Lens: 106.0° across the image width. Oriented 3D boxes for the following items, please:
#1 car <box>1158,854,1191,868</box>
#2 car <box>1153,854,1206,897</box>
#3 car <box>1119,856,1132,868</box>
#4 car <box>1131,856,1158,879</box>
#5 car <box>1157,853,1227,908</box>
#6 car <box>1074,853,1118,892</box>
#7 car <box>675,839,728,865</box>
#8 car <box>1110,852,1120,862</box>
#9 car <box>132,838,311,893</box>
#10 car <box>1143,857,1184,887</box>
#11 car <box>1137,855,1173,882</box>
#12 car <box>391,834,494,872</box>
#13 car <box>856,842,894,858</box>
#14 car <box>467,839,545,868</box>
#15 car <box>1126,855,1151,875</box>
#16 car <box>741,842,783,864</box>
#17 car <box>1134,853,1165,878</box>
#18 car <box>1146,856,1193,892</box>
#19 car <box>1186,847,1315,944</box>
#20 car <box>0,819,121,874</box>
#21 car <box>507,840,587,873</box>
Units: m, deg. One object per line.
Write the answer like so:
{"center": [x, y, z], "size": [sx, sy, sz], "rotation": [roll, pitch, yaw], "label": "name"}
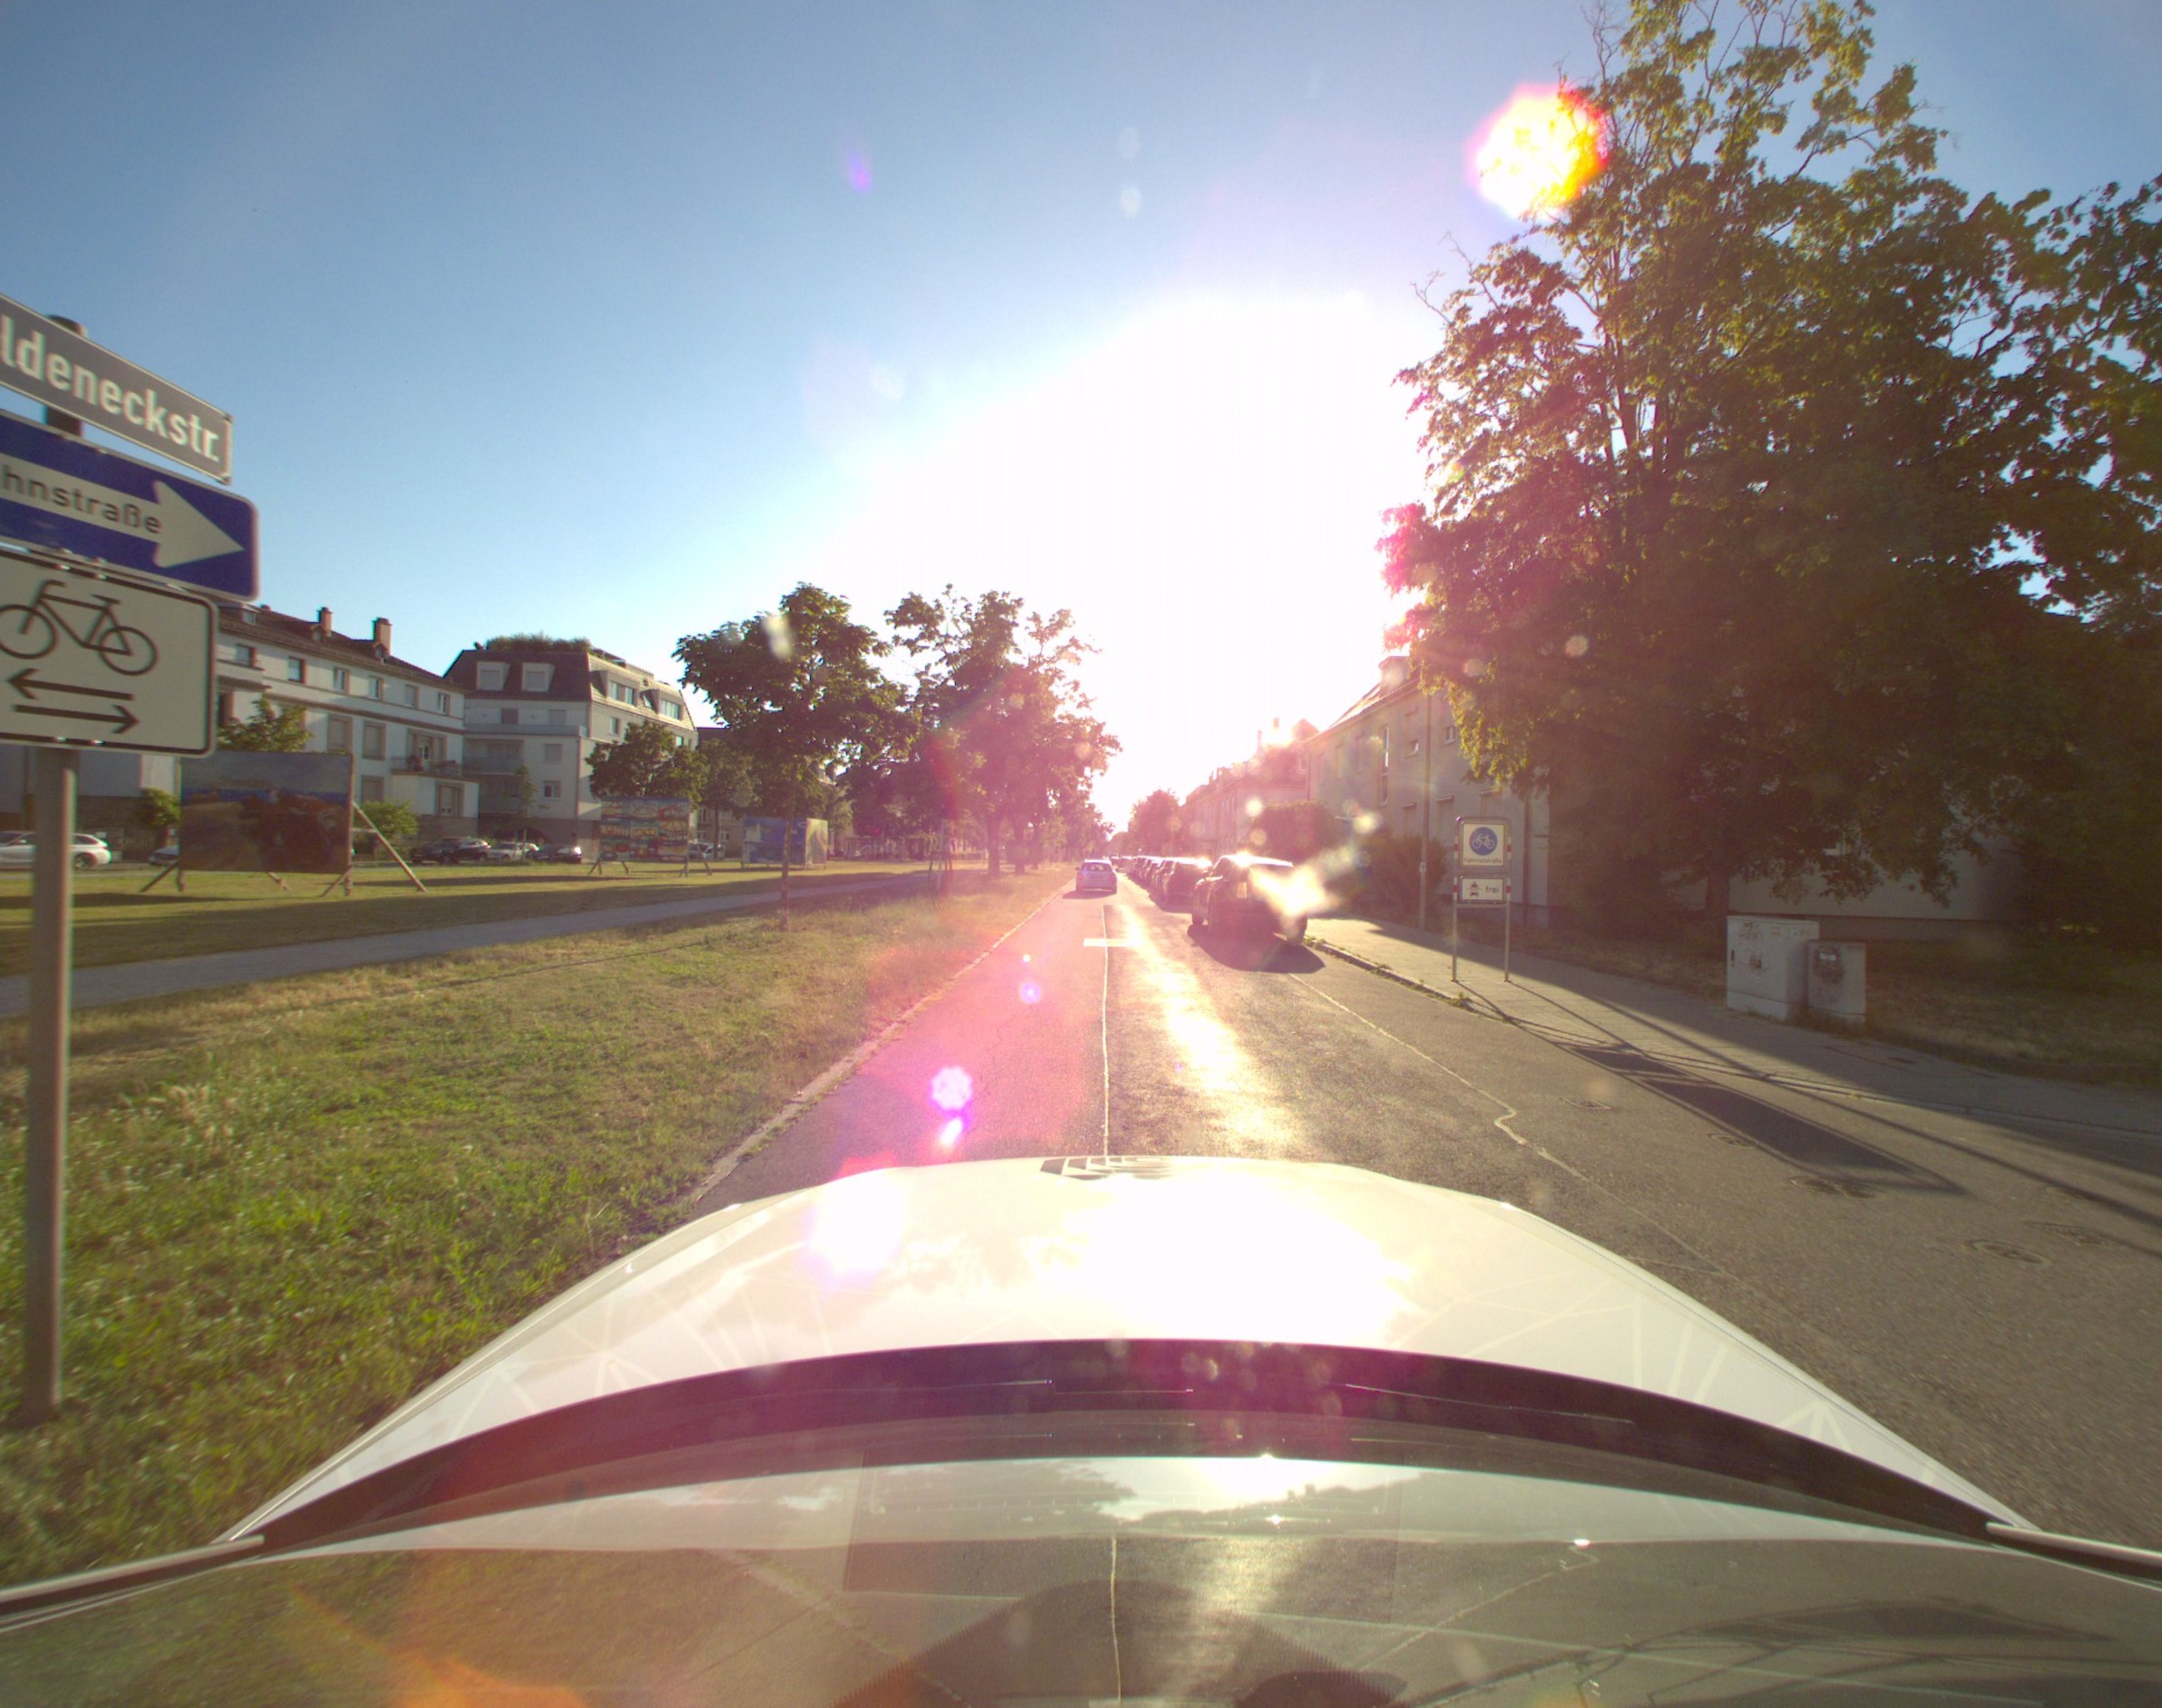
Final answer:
{"center": [11.490, 0.892, 100.271], "size": [3.870, 1.596, 2.005], "rotation": [-2, -1, 9], "label": "car"}
{"center": [4.184, 0.855, 35.238], "size": [1.847, 1.657, 4.822], "rotation": [3, 0, 2], "label": "car"}
{"center": [6.348, 1.168, 116.137], "size": [1.715, 1.597, 4.001], "rotation": [1, -1, 2], "label": "car"}
{"center": [4.783, 1.034, 61.851], "size": [1.771, 1.643, 4.757], "rotation": [1, -1, 1], "label": "car"}
{"center": [3.942, 0.880, 29.715], "size": [1.926, 1.720, 4.622], "rotation": [4, 0, 1], "label": "car"}
{"center": [0.695, 0.766, 35.615], "size": [1.816, 1.566, 4.002], "rotation": [0, 0, 2], "label": "car"}
{"center": [-31.944, -0.148, 68.698], "size": [2.013, 2.001, 5.367], "rotation": [-2, -1, -2], "label": "car"}
{"center": [7.330, 0.707, 174.372], "size": [1.981, 2.023, 4.002], "rotation": [2, 0, 2], "label": "car"}
{"center": [-33.023, 0.465, 31.523], "size": [1.826, 1.899, 4.645], "rotation": [-2, -1, 3], "label": "car"}
{"center": [4.542, 0.950, 45.545], "size": [1.985, 1.462, 4.565], "rotation": [3, 0, 3], "label": "car"}
{"center": [4.562, 0.852, 50.806], "size": [1.720, 1.561, 4.414], "rotation": [2, 0, -1], "label": "car"}
{"center": [-38.494, 0.004, 49.307], "size": [2.229, 2.131, 4.856], "rotation": [-2, -1, 3], "label": "car"}
{"center": [-37.462, -0.689, 148.076], "size": [6.332, 2.720, 1.984], "rotation": [1, 0, -29], "label": "car"}
{"center": [-38.253, 0.006, 54.336], "size": [1.814, 1.744, 4.462], "rotation": [-2, -1, 3], "label": "car"}
{"center": [5.045, 0.943, 72.192], "size": [1.712, 1.639, 4.560], "rotation": [3, 0, -2], "label": "car"}
{"center": [-31.397, -0.055, 80.266], "size": [1.986, 2.057, 5.054], "rotation": [-2, -1, 2], "label": "car"}
{"center": [4.699, 0.802, 56.616], "size": [1.759, 1.635, 4.765], "rotation": [3, -1, 1], "label": "car"}
{"center": [4.367, 0.971, 40.680], "size": [1.723, 1.548, 4.206], "rotation": [6, -1, 0], "label": "car"}
{"center": [3.556, 0.826, 18.037], "size": [1.826, 1.732, 5.032], "rotation": [4, -1, 1], "label": "car"}
{"center": [-38.784, -0.234, 29.779], "size": [1.724, 1.854, 4.715], "rotation": [-2, -1, 1], "label": "car"}
{"center": [-32.492, 0.187, 49.705], "size": [1.882, 1.917, 4.328], "rotation": [-2, -1, 2], "label": "car"}
